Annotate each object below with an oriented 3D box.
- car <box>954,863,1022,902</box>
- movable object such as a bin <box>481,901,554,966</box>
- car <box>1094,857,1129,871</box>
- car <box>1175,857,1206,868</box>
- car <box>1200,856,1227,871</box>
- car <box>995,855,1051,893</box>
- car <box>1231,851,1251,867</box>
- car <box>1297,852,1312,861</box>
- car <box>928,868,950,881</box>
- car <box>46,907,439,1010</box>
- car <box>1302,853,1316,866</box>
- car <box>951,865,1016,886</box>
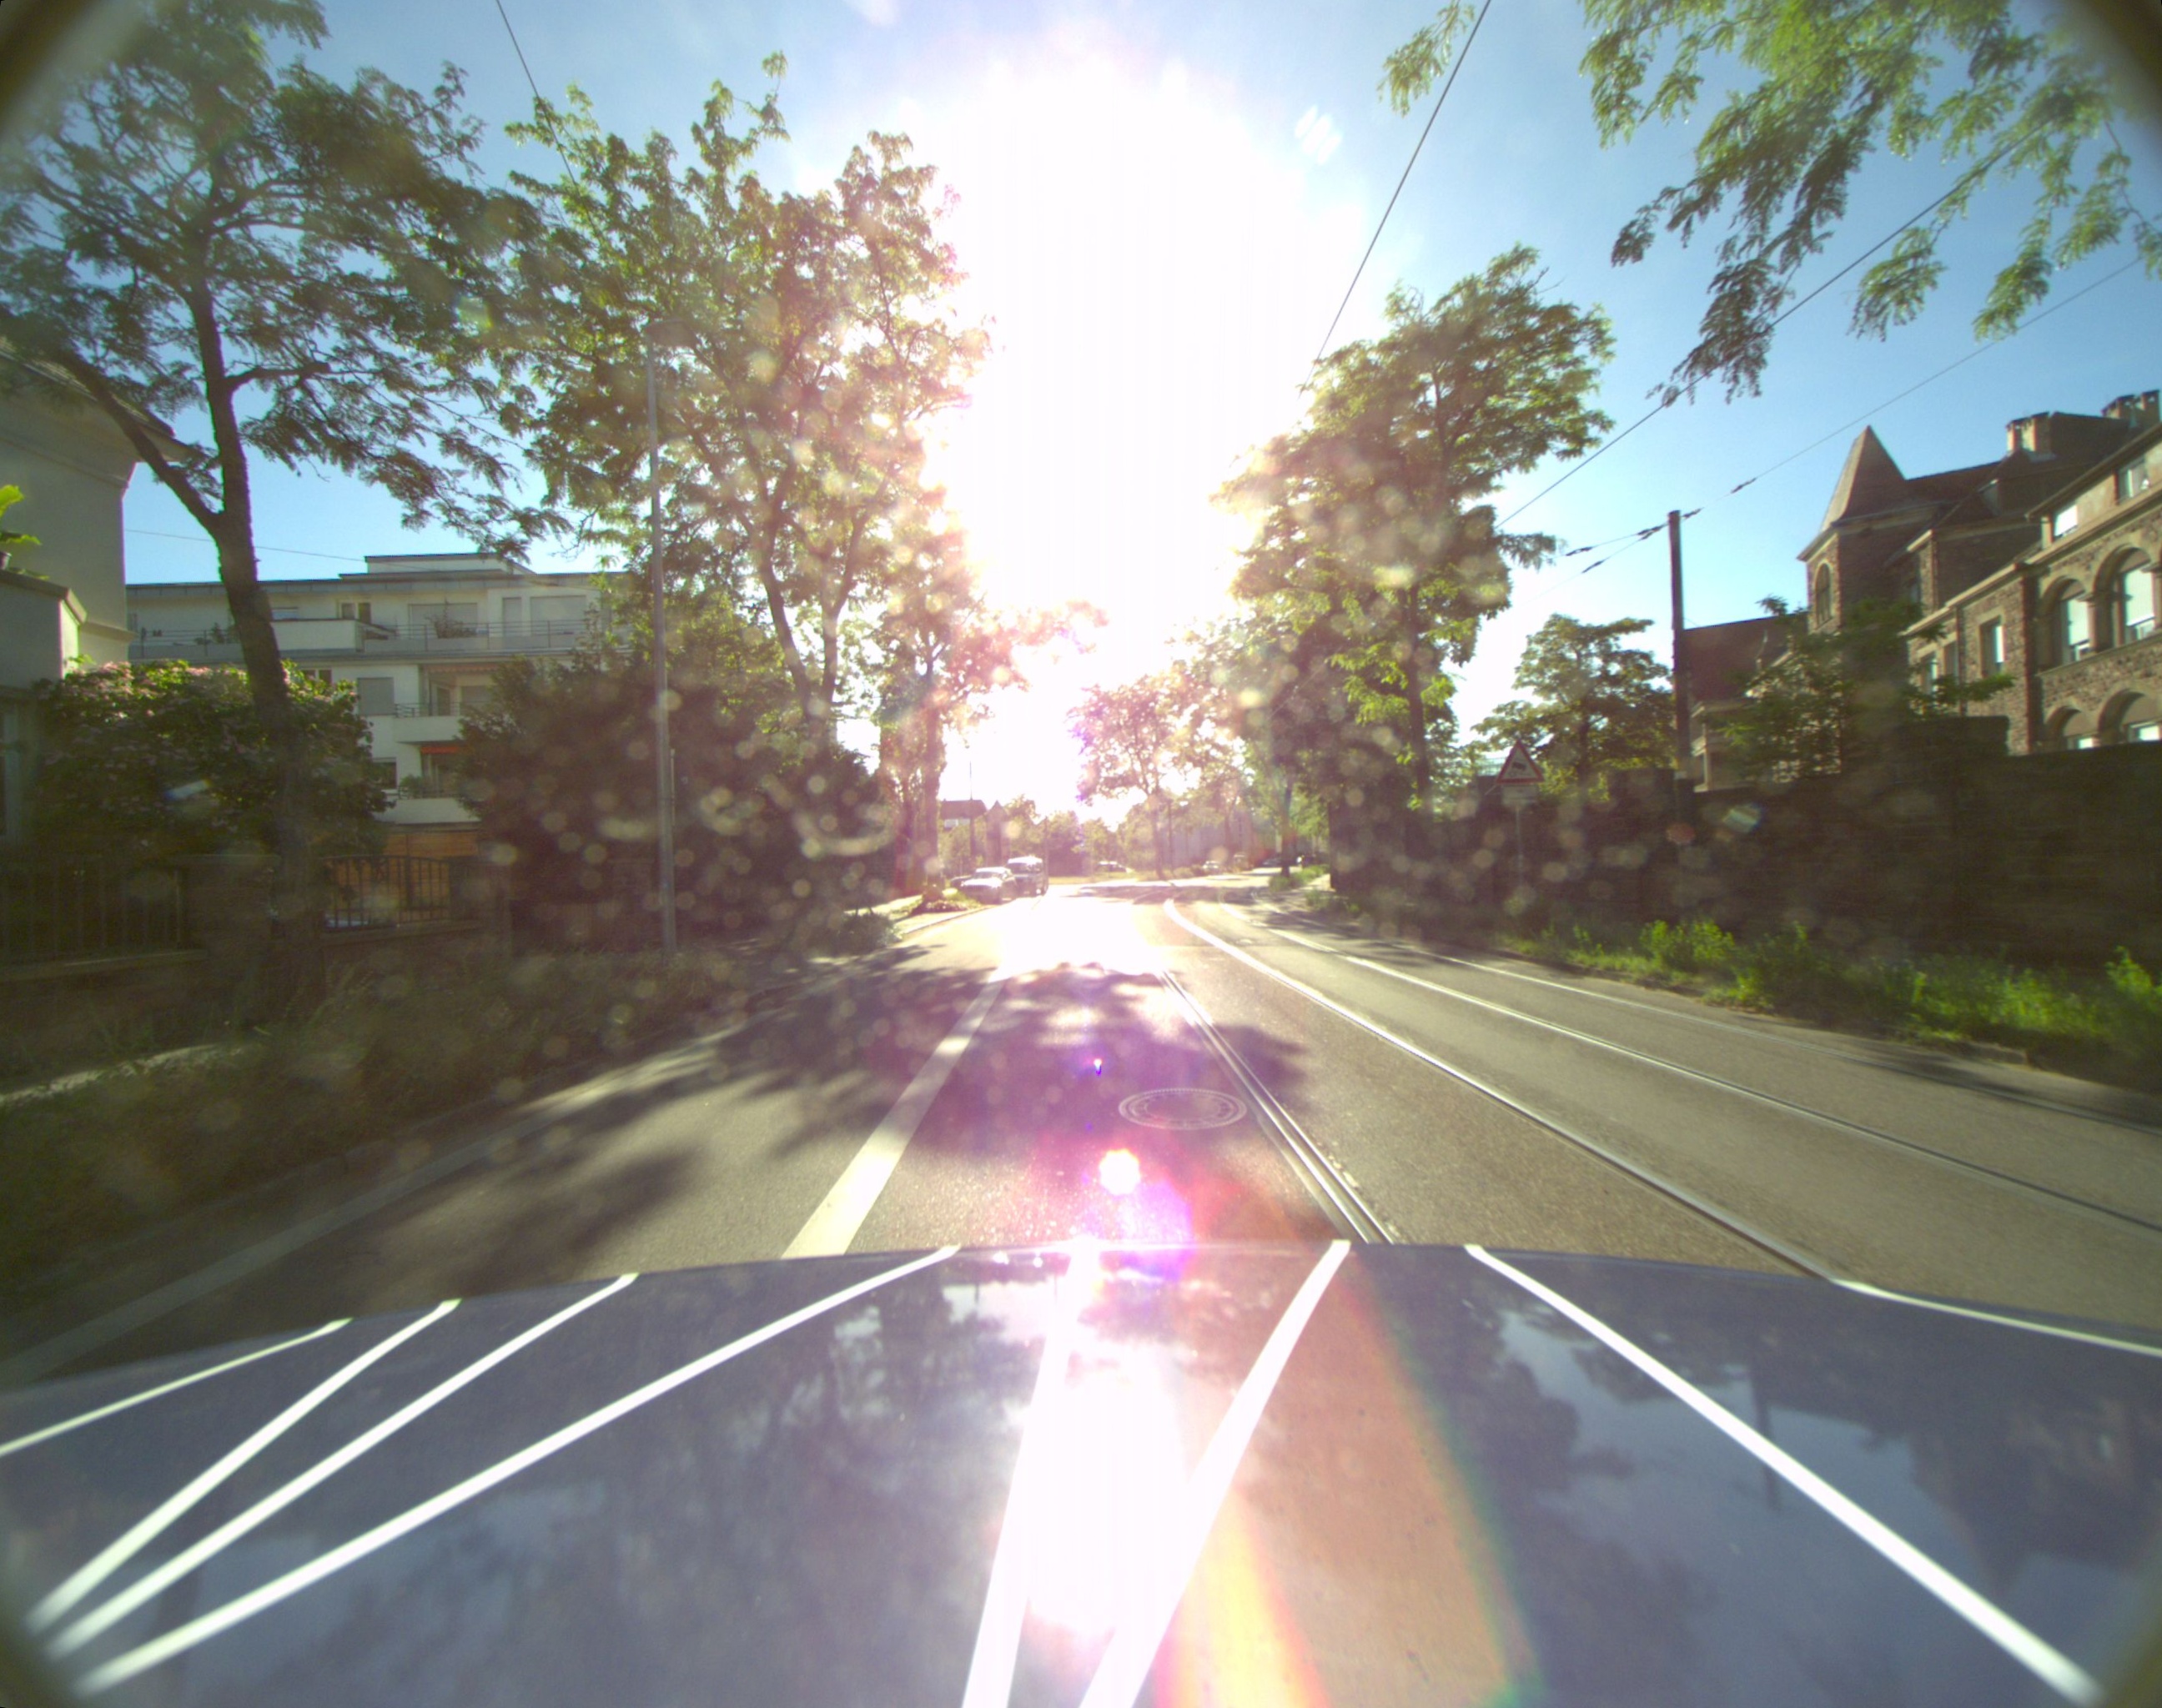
[{"bbox_3d":[-3.905,1.175,32.761,1.998,1.414,4.334,-2,0,5],"label":"car"},{"bbox_3d":[-10.344,1.445,13.974,0.748,1.092,0.730,-2,0,2],"label":"movable object such as a bin"},{"bbox_3d":[4.719,1.478,115.960,5.208,1.873,2.100,-3,0,3],"label":"car"},{"bbox_3d":[16.599,1.300,115.523,4.458,1.482,2.008,-2,3,3],"label":"car"},{"bbox_3d":[15.012,1.045,85.862,2.002,1.457,5.440,2,1,19],"label":"car"},{"bbox_3d":[-2.864,0.966,38.680,2.027,1.736,4.754,-2,0,6],"label":"car"},{"bbox_3d":[21.660,0.610,102.963,1.996,2.083,4.723,-2,0,19],"label":"car"},{"bbox_3d":[44.576,0.497,151.558,1.877,1.509,4.657,-2,0,28],"label":"car"},{"bbox_3d":[-20.481,2.919,109.671,1.997,1.786,4.002,-2,0,8],"label":"car"},{"bbox_3d":[-13.076,1.597,12.109,3.999,1.203,1.767,-2,0,-6],"label":"car"},{"bbox_3d":[31.645,0.754,105.367,1.635,1.781,4.344,-2,0,20],"label":"car"},{"bbox_3d":[-7.252,1.604,56.927,4.520,1.361,1.969,-2,0,3],"label":"car"}]
